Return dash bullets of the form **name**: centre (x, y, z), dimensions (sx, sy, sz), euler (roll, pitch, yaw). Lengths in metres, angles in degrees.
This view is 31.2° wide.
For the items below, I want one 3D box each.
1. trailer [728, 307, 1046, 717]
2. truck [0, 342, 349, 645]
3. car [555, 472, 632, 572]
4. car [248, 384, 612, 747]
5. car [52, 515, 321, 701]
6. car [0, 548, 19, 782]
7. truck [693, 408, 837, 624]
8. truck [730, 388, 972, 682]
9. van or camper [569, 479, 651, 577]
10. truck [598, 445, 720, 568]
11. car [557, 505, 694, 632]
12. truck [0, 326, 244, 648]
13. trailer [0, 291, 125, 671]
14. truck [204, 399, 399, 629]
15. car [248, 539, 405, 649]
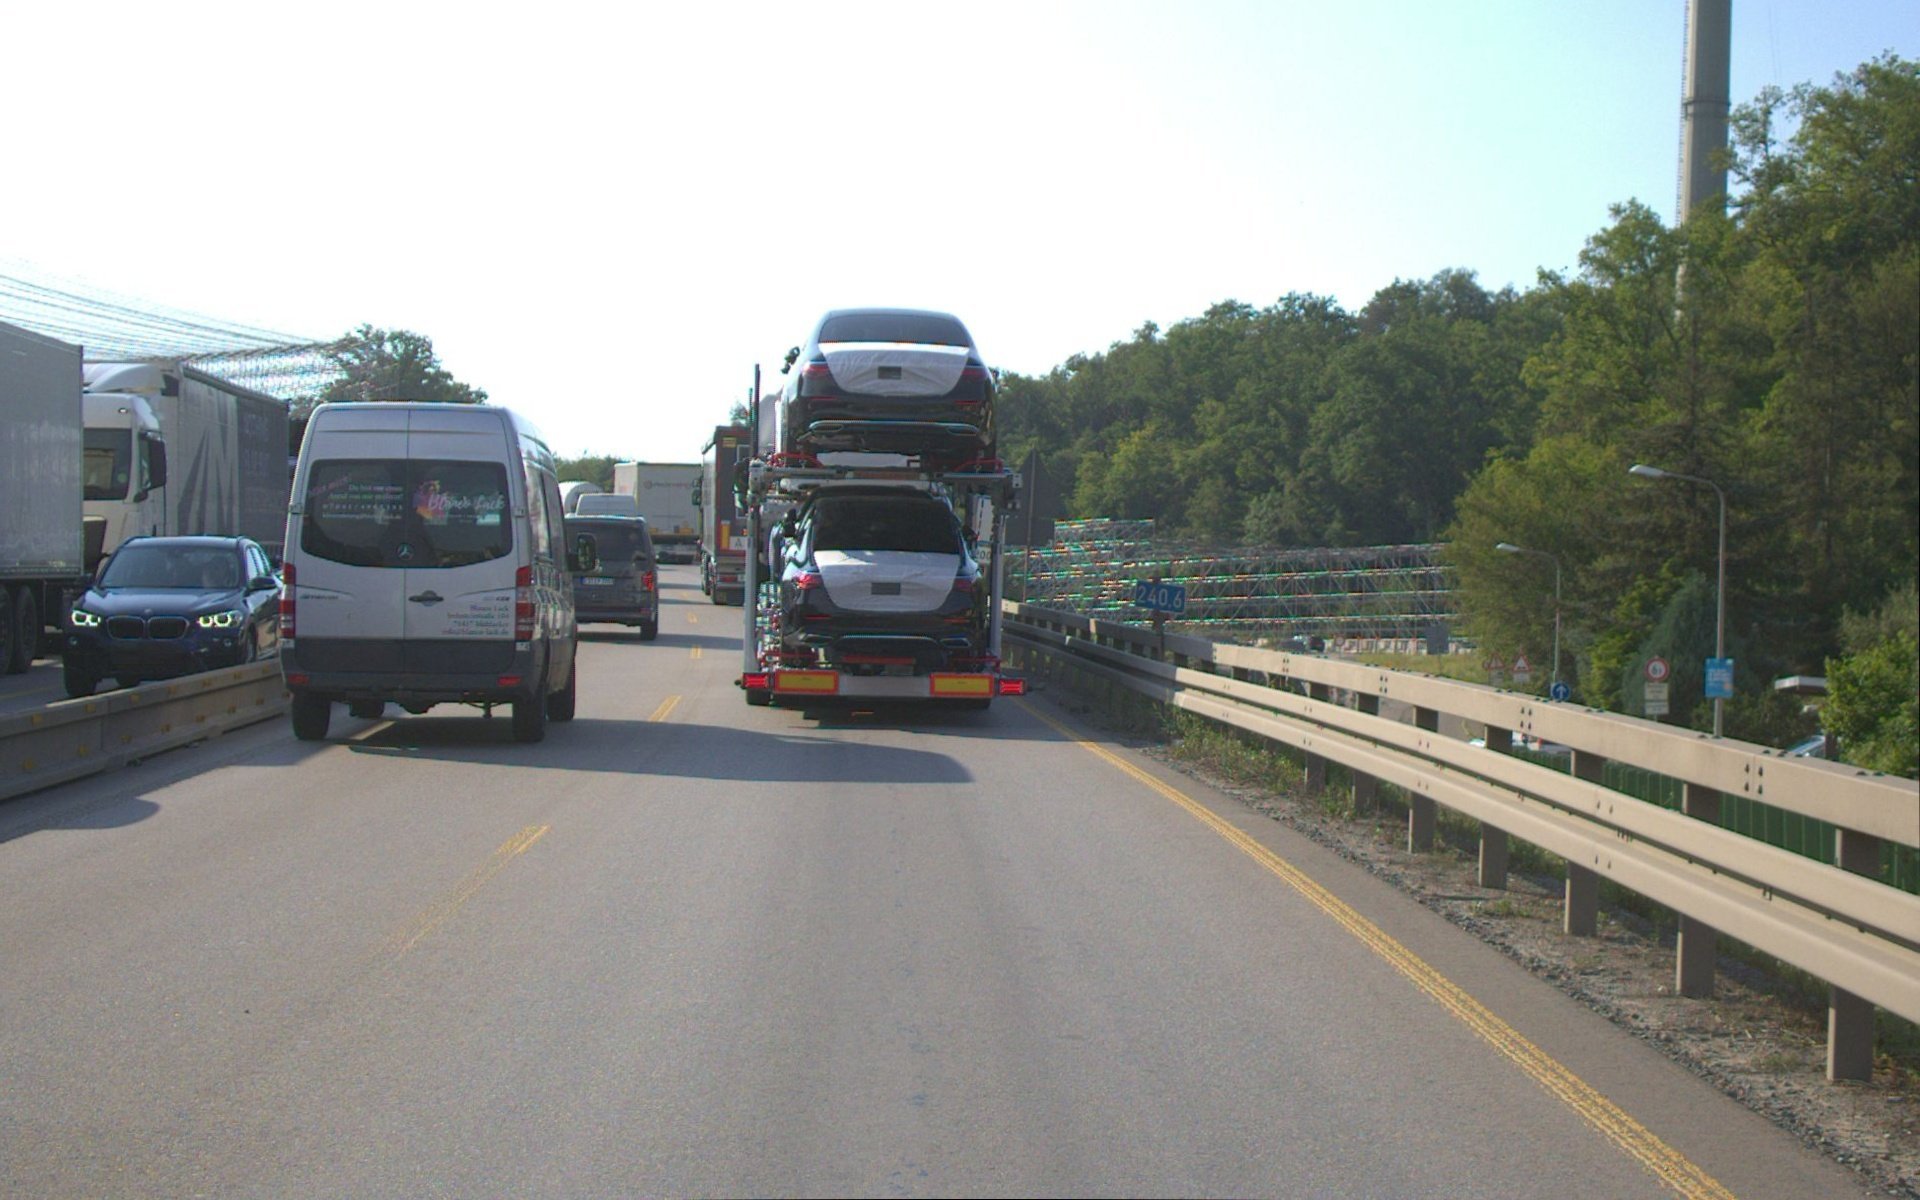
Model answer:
- **trailer**: centre (-1.057, -0.775, 37.861), dimensions (2.682, 3.523, 15.290), euler (2, 0, -3)
- **truck**: centre (-12.816, -1.618, 57.163), dimensions (2.982, 4.139, 15.857), euler (4, 0, -3)
- **car**: centre (-19.638, -4.152, 183.789), dimensions (3.444, 5.018, 9.655), euler (4, 1, -8)
- **car**: centre (-4.266, -0.296, 28.620), dimensions (1.993, 2.639, 5.530), euler (3, 1, 1)
- **car**: centre (-7.885, 0.084, 35.386), dimensions (1.806, 1.678, 4.000), euler (4, 0, -1)
- **car**: centre (-7.022, 0.366, 20.532), dimensions (1.661, 1.525, 4.000), euler (4, 0, -1)
- **truck**: centre (-4.416, -1.890, 79.026), dimensions (2.907, 4.591, 7.287), euler (3, 0, -2)
- **truck**: centre (-1.568, -0.796, 45.754), dimensions (2.682, 3.523, 7.195), euler (2, 0, -5)
- **van or camper**: centre (-10.012, -2.037, 98.643), dimensions (1.968, 2.583, 5.042), euler (4, 0, -4)
- **truck**: centre (-12.461, -3.783, 141.418), dimensions (4.064, 4.663, 10.595), euler (3, 1, -9)
- **car**: centre (-5.484, -0.481, 56.807), dimensions (1.808, 1.897, 4.000), euler (4, -1, -1)
- **truck**: centre (-12.461, -1.569, 49.179), dimensions (2.982, 4.139, 7.393), euler (4, 0, -3)
- **trailer**: centre (-11.714, -1.351, 36.808), dimensions (2.709, 4.079, 12.570), euler (4, 0, -2)
- **truck**: centre (-13.364, -1.703, 70.377), dimensions (2.436, 4.340, 7.518), euler (3, 0, -1)
- **car**: centre (-9.301, -0.101, 50.711), dimensions (1.713, 1.472, 3.512), euler (3, 1, -2)
